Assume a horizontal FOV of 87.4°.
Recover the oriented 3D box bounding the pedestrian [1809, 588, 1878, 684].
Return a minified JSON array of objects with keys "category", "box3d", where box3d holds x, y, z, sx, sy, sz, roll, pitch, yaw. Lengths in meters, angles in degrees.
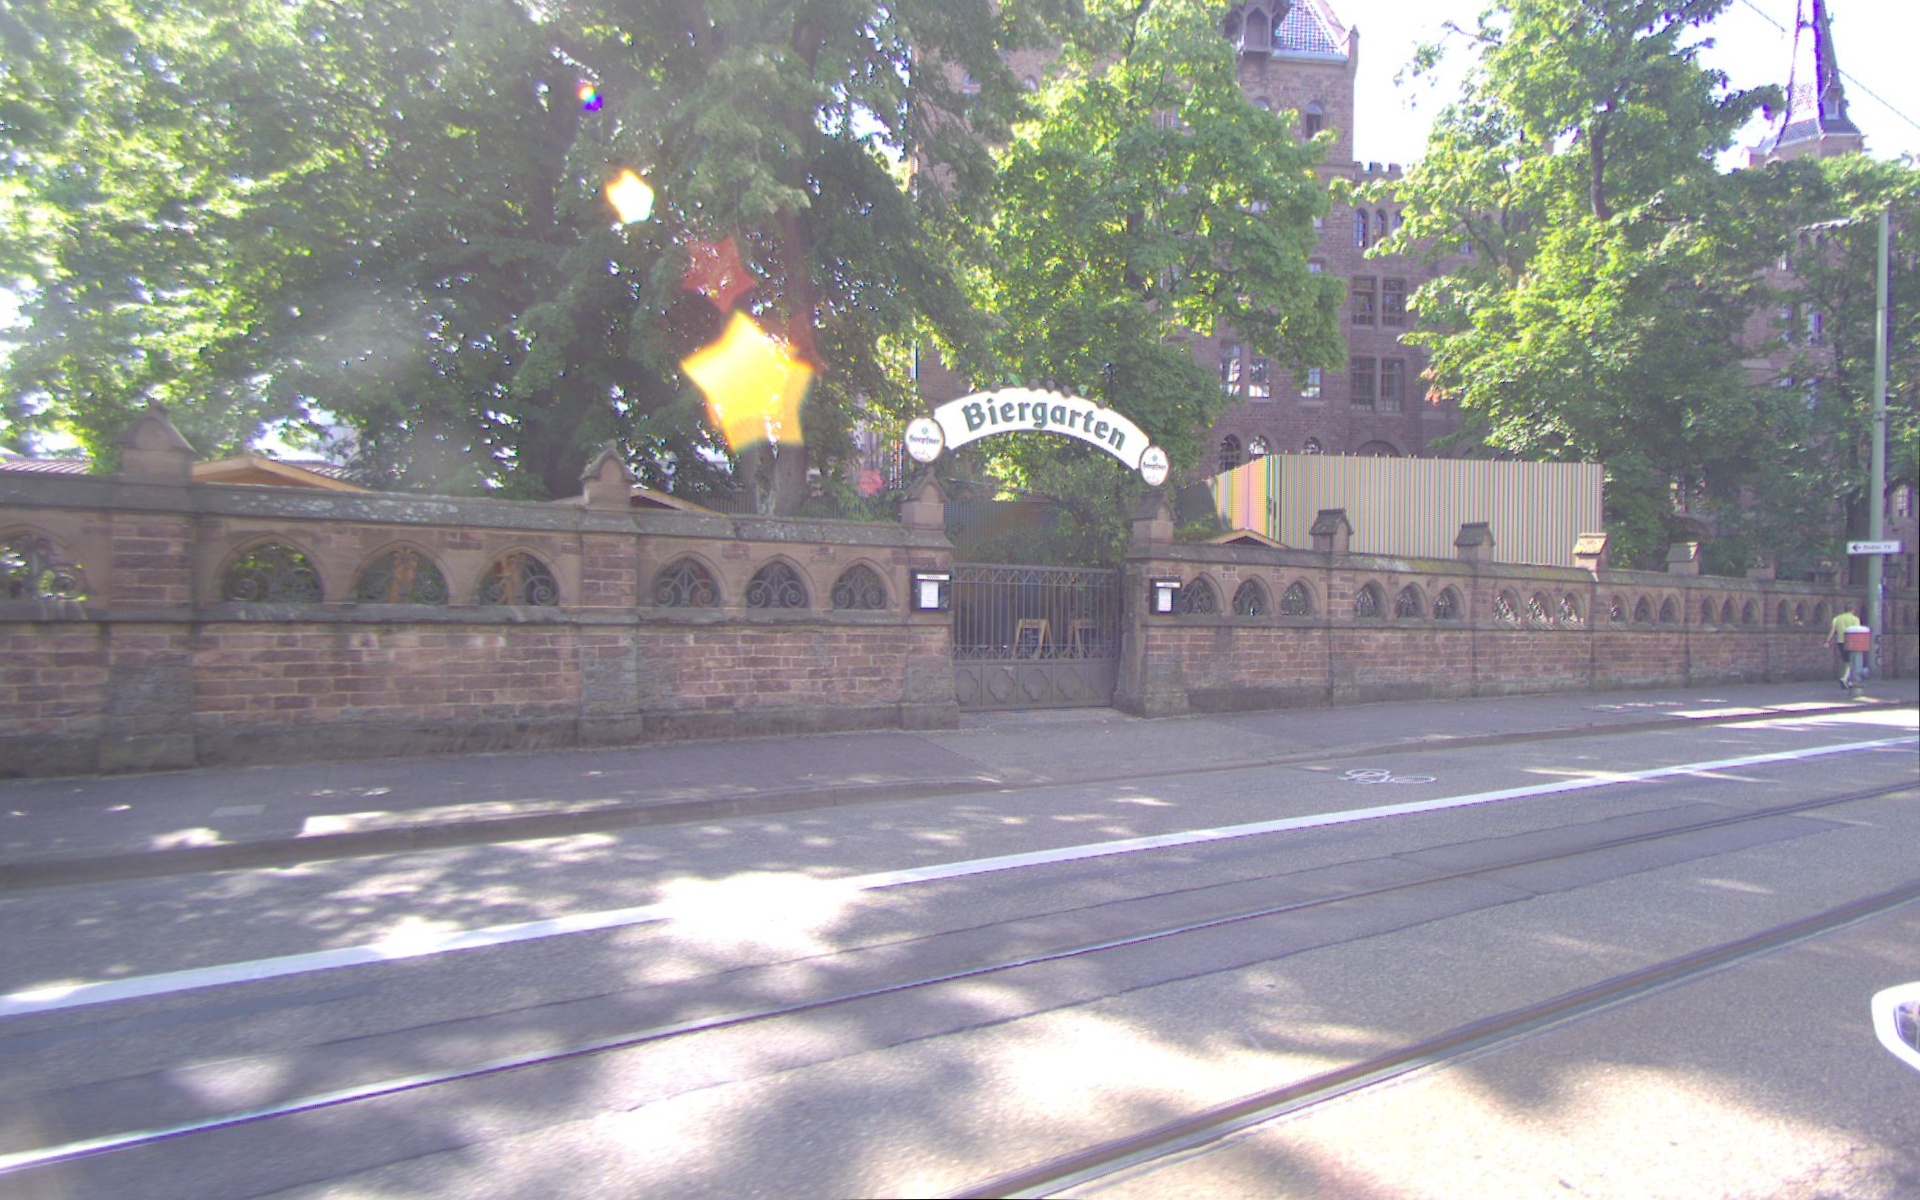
[{"category":"pedestrian","box3d":[19.163,0.767,21.800,0.972,2.040,0.859,1,0,-32]}]
